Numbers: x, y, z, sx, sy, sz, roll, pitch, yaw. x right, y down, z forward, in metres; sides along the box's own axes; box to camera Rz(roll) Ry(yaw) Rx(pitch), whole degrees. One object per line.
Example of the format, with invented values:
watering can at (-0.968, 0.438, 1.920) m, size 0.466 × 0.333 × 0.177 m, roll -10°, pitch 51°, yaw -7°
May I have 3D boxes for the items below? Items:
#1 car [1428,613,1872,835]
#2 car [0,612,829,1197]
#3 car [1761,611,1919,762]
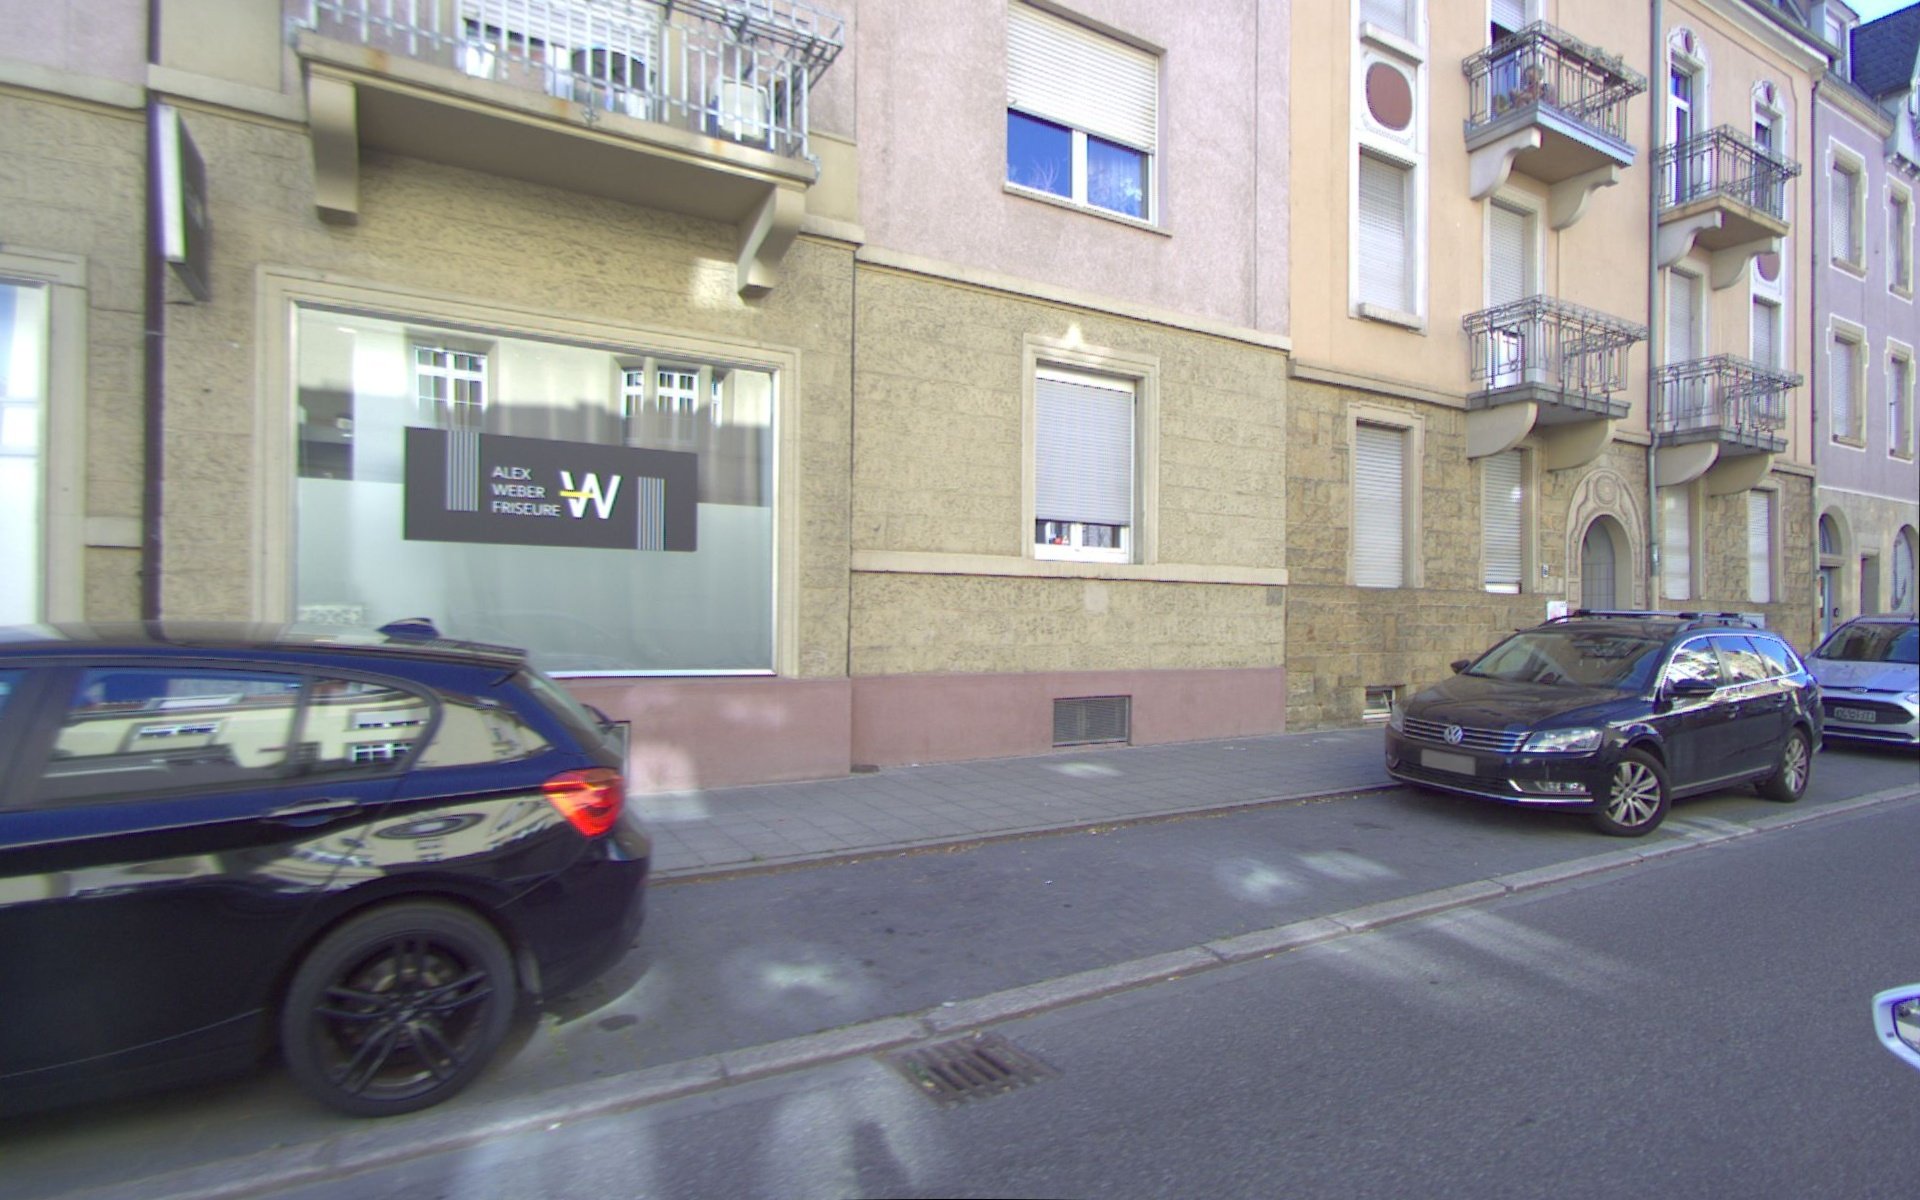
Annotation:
car at (6.110, 0.896, 8.786) m, size 4.063 × 1.541 × 1.706 m, roll 1°, pitch -1°, yaw -32°
car at (-2.559, 0.791, 3.465) m, size 3.819 × 1.405 × 1.706 m, roll 0°, pitch 3°, yaw -30°
car at (11.315, 0.923, 11.947) m, size 3.682 × 1.558 × 1.705 m, roll 0°, pitch 0°, yaw -32°
